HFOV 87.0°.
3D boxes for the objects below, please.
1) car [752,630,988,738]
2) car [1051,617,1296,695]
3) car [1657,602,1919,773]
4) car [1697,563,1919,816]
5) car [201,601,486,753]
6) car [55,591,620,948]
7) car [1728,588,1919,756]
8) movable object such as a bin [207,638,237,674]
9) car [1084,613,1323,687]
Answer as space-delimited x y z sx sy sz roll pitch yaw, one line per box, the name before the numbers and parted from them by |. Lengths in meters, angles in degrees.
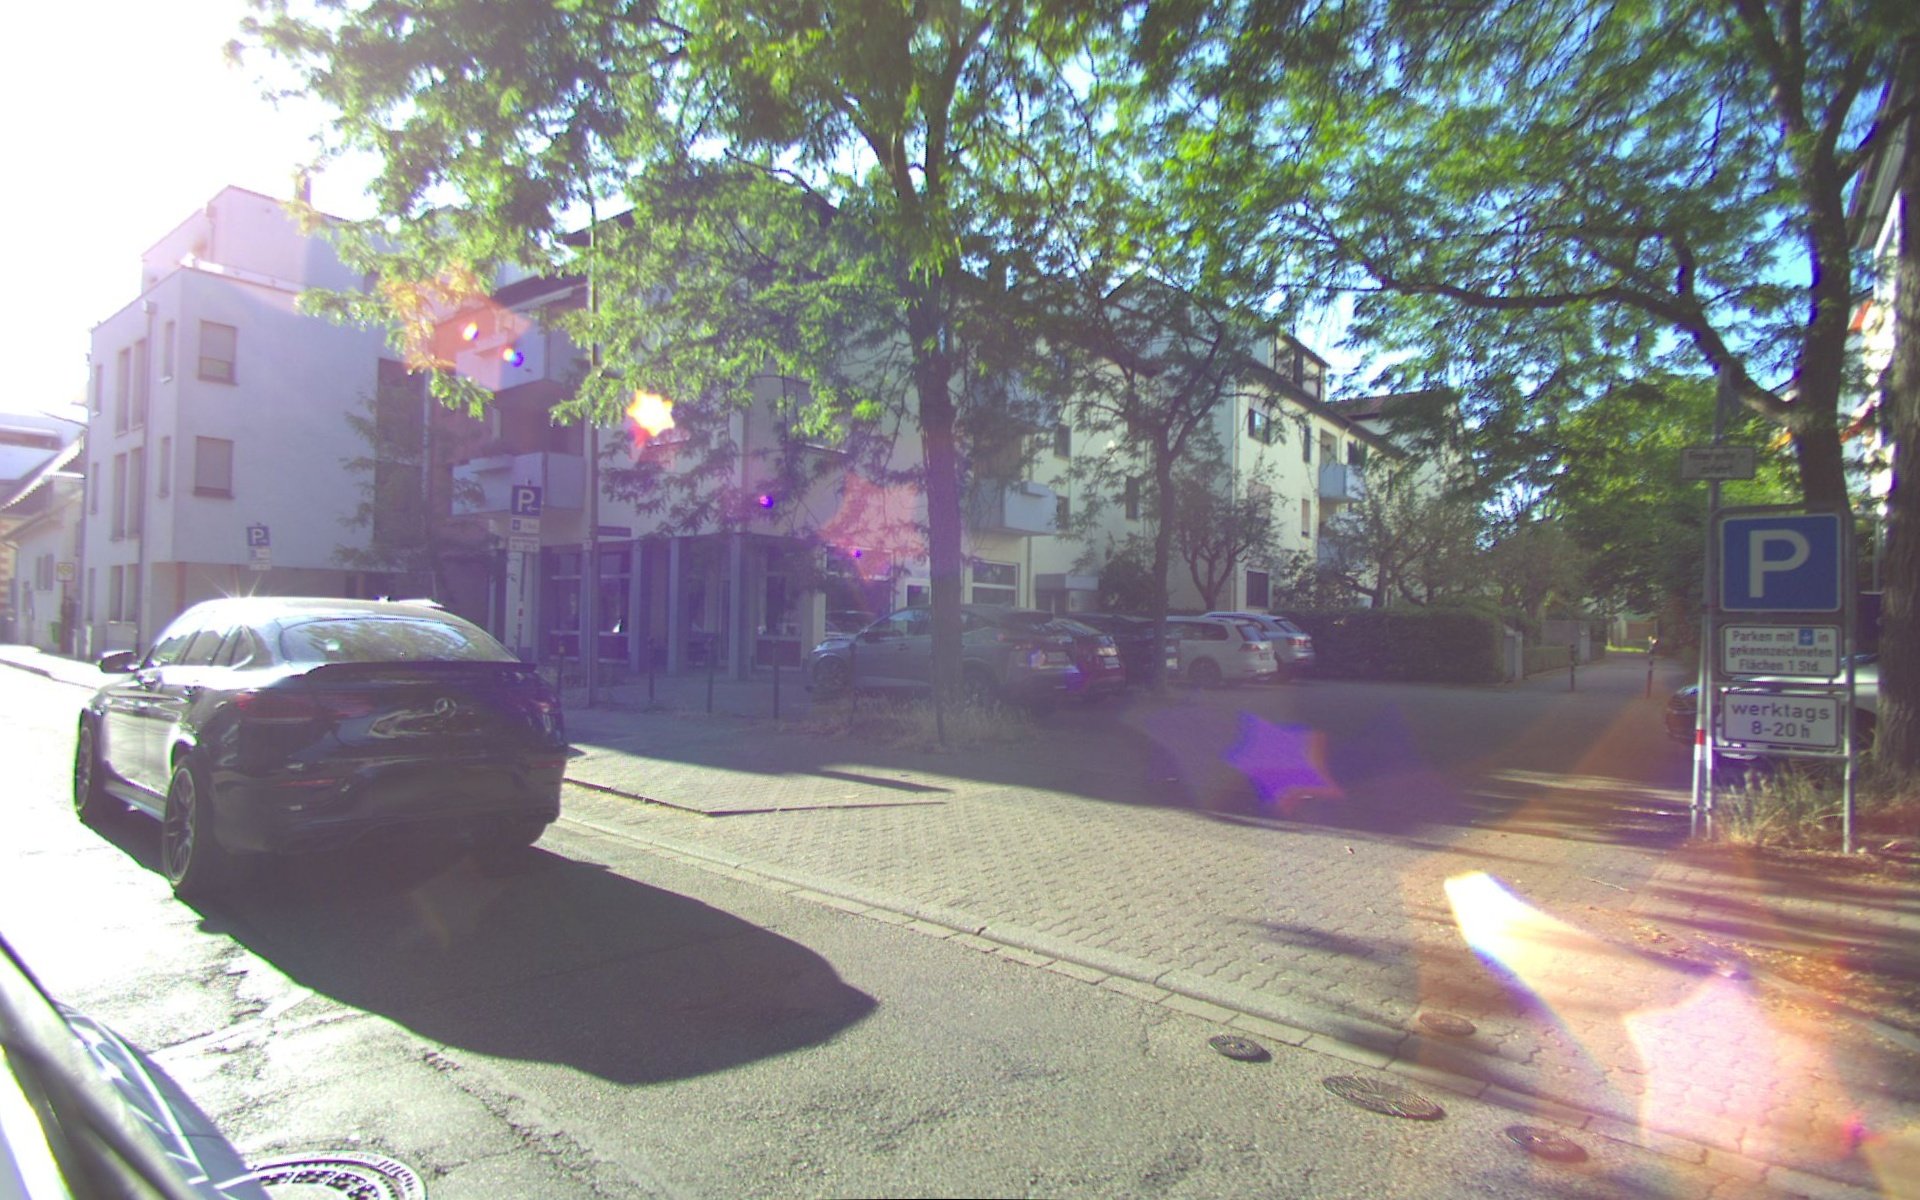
car | -1.441 1.188 15.306 3.639 1.419 1.504 -1 -3 43
car | 4.539 1.127 21.925 4.826 1.487 1.974 -1 0 39
car | 9.485 0.847 10.285 3.805 1.588 2.054 -1 -2 39
car | 8.680 0.679 7.678 4.900 1.909 1.825 -1 -3 39
car | -8.608 0.902 13.900 5.098 1.718 1.911 -1 0 41
car | -4.293 0.817 6.685 4.316 1.588 1.919 -1 -3 41
car | 12.266 0.873 12.387 4.308 1.963 2.003 0 -2 31
movable object such as a bin | -18.658 1.420 25.594 0.433 0.882 0.485 -1 -3 38
car | 5.602 1.124 23.794 5.184 1.572 1.918 -1 -3 41
